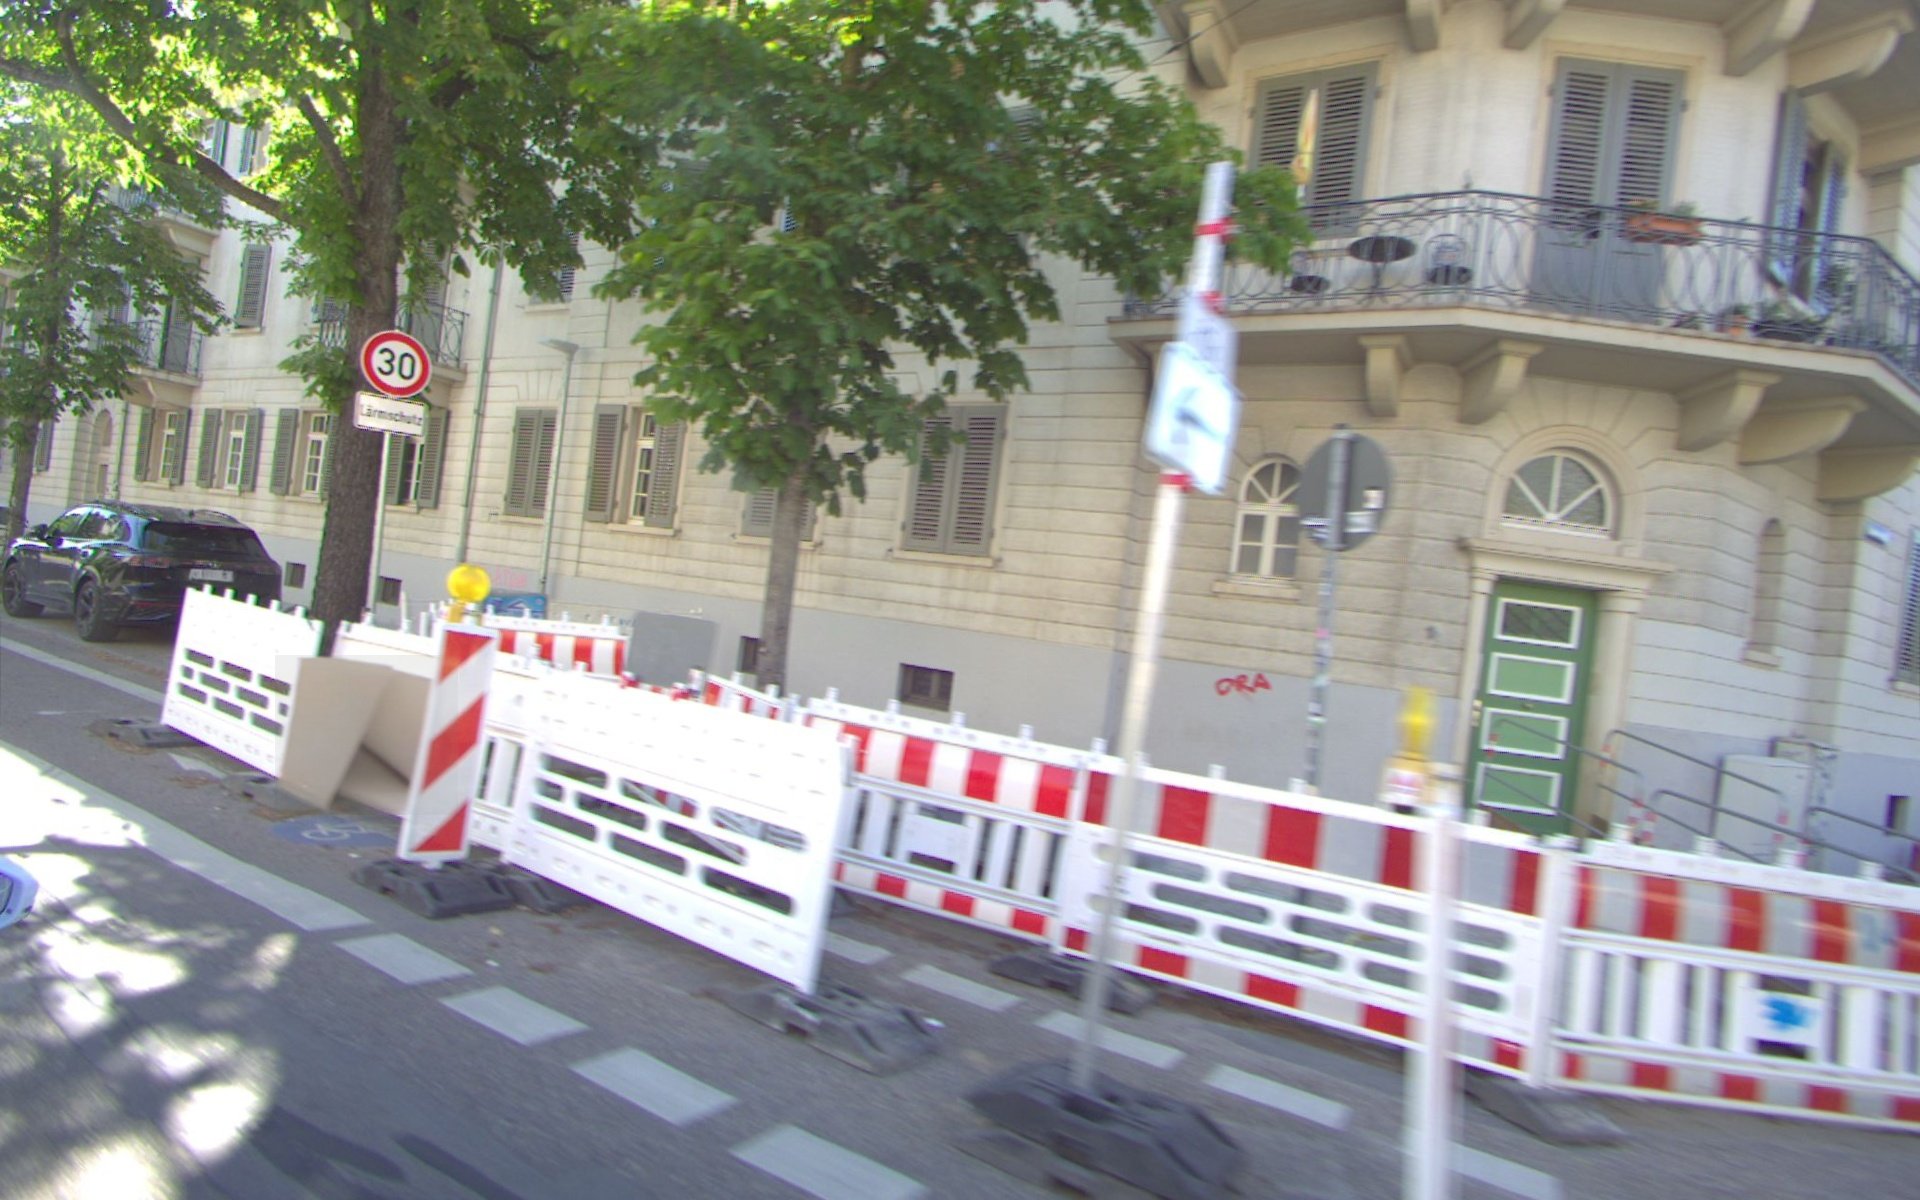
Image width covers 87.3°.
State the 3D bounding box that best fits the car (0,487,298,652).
[{"bbox_3d":[-10.666,-0.435,12.942,4.508,1.647,1.811,7,1,32],"label":"car"}]

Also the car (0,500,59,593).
[{"bbox_3d":[-17.081,-1.068,16.952,4.285,1.399,1.724,7,1,33],"label":"car"}]
